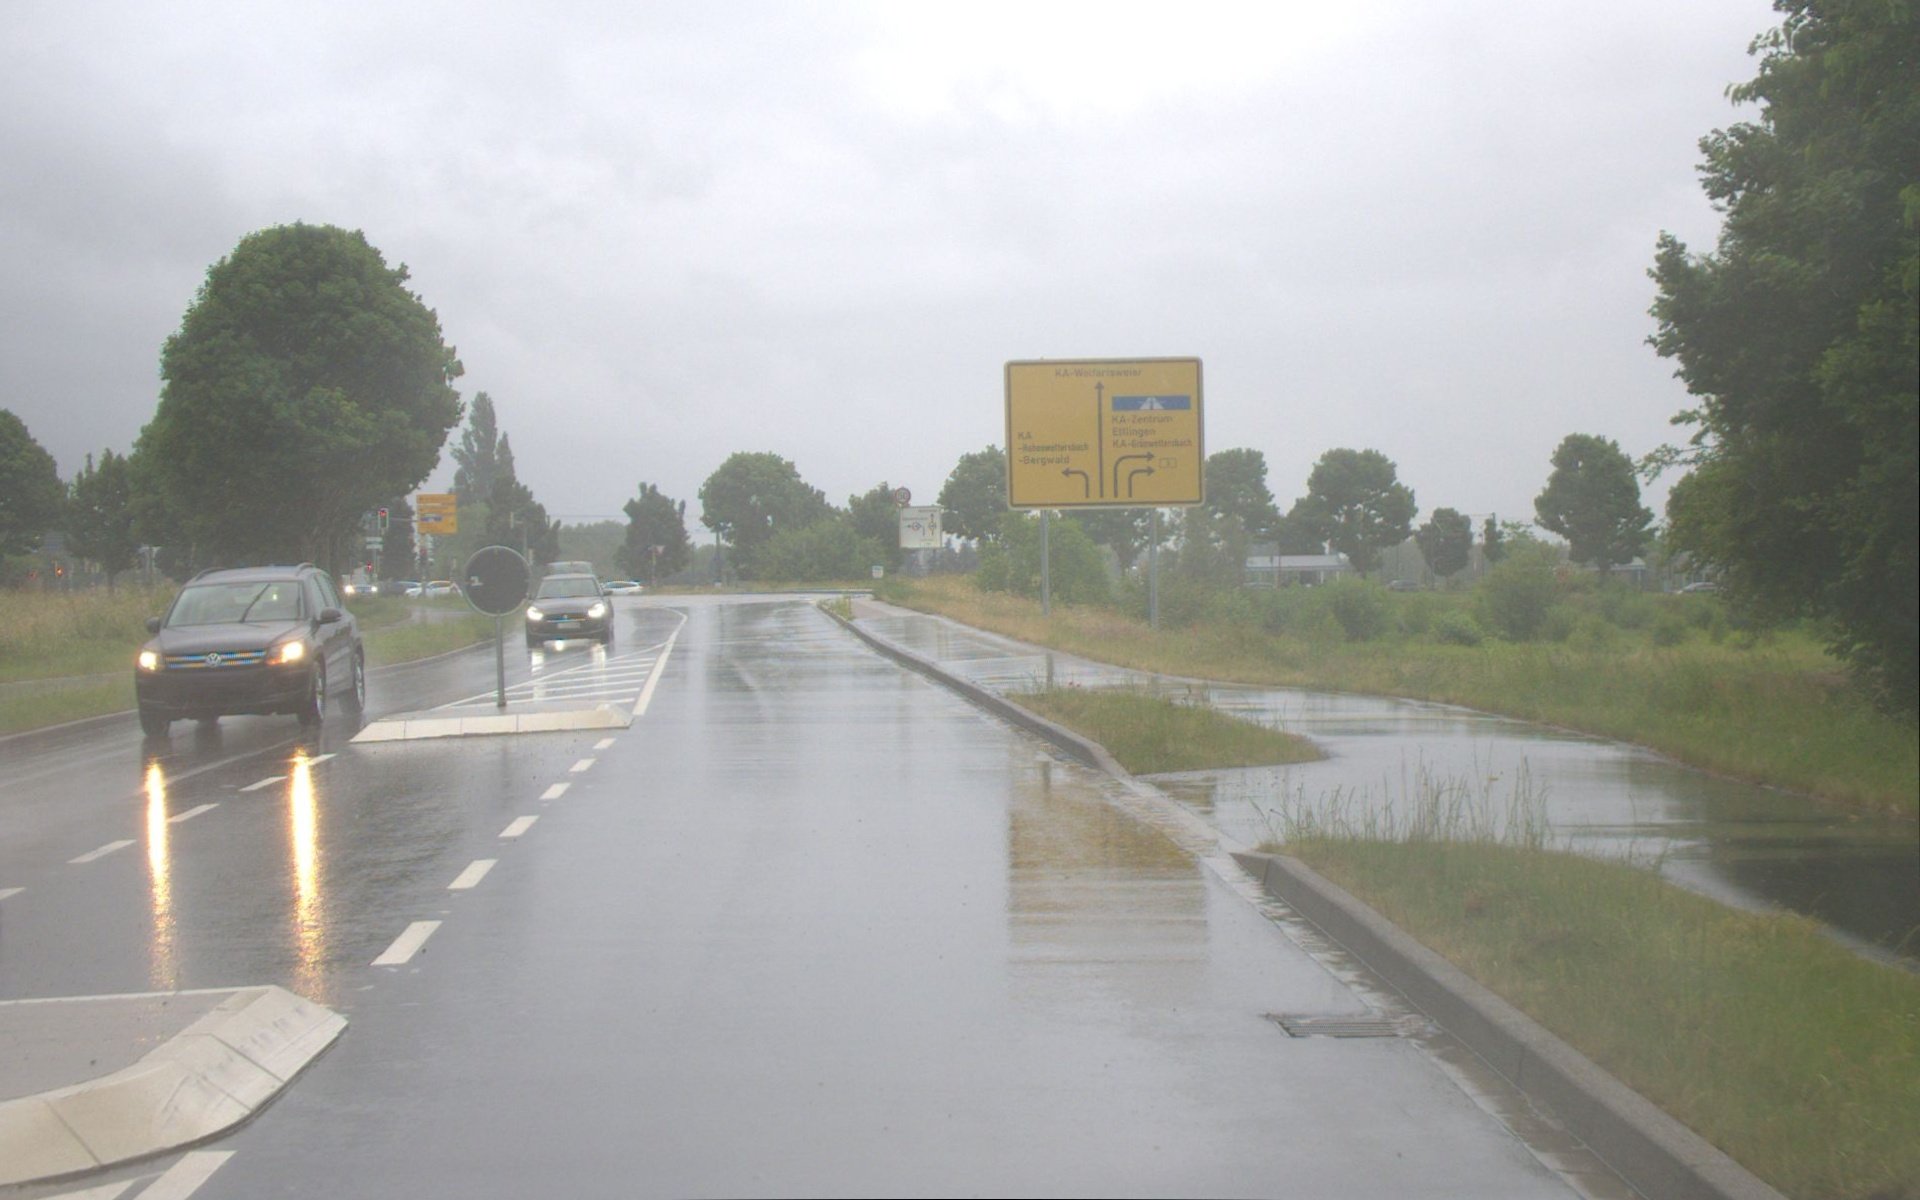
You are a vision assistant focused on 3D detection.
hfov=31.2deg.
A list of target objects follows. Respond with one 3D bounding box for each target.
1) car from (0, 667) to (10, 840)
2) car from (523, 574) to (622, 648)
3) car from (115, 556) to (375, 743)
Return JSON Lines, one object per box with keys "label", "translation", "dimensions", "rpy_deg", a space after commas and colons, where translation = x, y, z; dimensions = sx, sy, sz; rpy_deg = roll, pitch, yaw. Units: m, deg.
{"label": "car", "translation": [-6.432, 0.757, 18.496], "dimensions": [1.741, 1.440, 3.683], "rpy_deg": [-3, 1, -3]}
{"label": "car", "translation": [-8.145, 0.215, 72.527], "dimensions": [1.697, 1.397, 3.767], "rpy_deg": [-4, 1, -2]}
{"label": "car", "translation": [-7.325, 0.454, 35.624], "dimensions": [1.741, 1.712, 4.267], "rpy_deg": [-3, 1, 0]}
